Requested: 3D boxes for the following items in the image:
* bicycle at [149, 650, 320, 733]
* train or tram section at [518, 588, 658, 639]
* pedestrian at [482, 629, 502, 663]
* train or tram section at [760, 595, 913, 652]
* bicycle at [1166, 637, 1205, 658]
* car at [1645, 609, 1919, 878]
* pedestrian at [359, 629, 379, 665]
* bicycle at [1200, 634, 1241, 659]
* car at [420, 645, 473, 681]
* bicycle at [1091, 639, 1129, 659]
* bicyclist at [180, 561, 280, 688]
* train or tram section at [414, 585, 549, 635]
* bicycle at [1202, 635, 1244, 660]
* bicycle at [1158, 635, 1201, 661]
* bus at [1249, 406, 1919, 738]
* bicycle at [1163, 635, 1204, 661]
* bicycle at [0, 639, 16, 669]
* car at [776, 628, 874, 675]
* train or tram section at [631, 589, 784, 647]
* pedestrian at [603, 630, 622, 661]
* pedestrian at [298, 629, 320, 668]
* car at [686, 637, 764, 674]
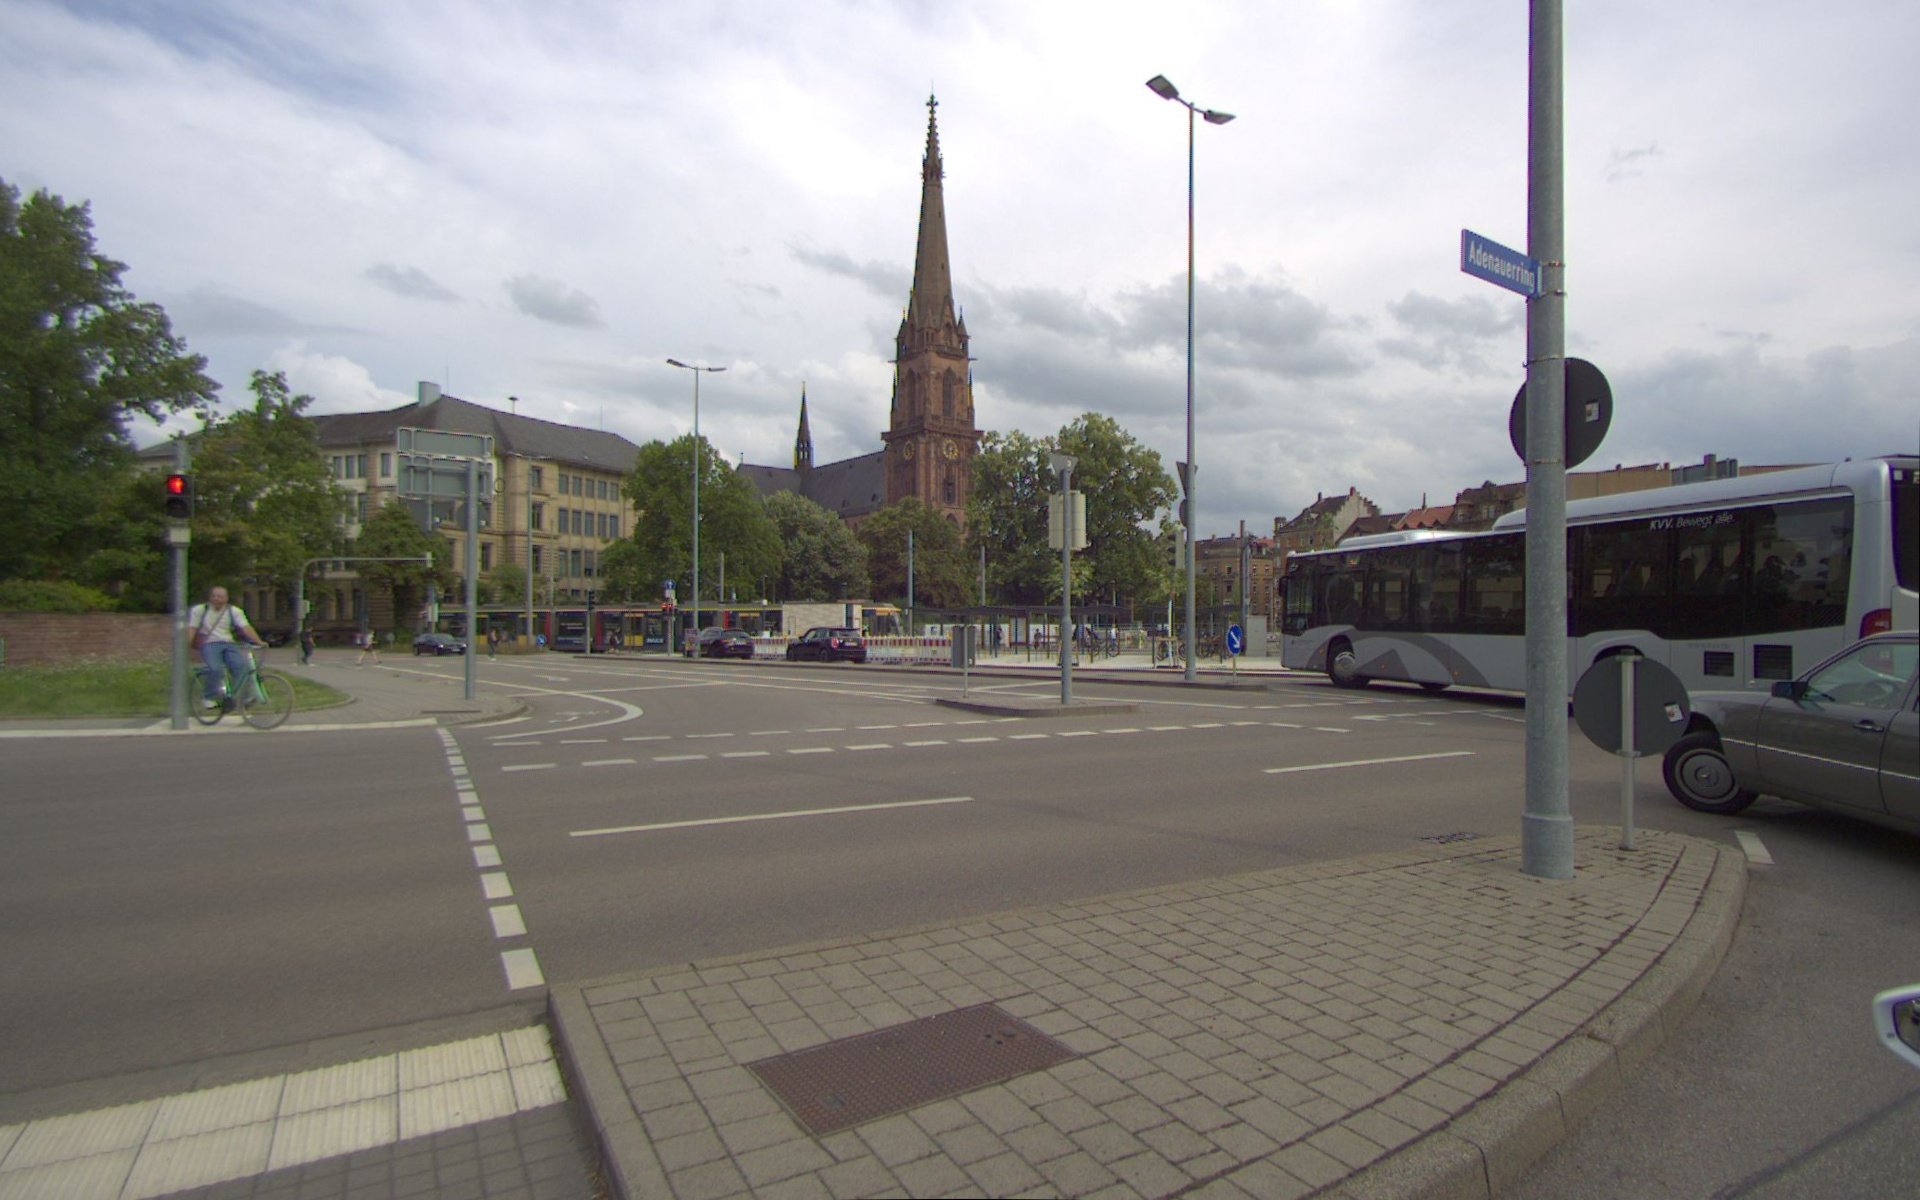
[{"bbox_3d":[-9.286,1.156,12.865,1.931,0.948,0.506,2,-2,9],"label":"bicycle"},{"bbox_3d":[-26.118,0.911,70.539,9.241,3.255,3.063,1,0,17],"label":"train or tram section"},{"bbox_3d":[-24.516,2.421,52.605,0.791,1.734,0.832,1,0,-33],"label":"pedestrian"},{"bbox_3d":[-7.942,1.465,64.831,9.312,3.290,3.063,1,0,17],"label":"train or tram section"},{"bbox_3d":[11.812,2.478,52.655,1.927,0.983,0.584,1,0,14],"label":"bicycle"},{"bbox_3d":[6.263,0.832,5.954,1.666,1.500,4.418,1,0,5],"label":"car"},{"bbox_3d":[-28.892,2.293,49.130,0.791,1.734,0.832,1,0,-33],"label":"pedestrian"},{"bbox_3d":[13.227,2.353,51.037,1.926,1.171,0.584,1,0,8],"label":"bicycle"},{"bbox_3d":[-33.064,4.035,64.637,1.987,2.040,3.947,1,0,-44],"label":"car"},{"bbox_3d":[7.831,2.548,52.438,1.927,0.968,0.584,1,0,14],"label":"bicycle"},{"bbox_3d":[-9.350,0.316,12.883,0.782,1.576,0.580,2,-2,9],"label":"bicyclist"},{"bbox_3d":[-34.885,0.694,73.234,9.182,3.321,3.063,1,0,17],"label":"train or tram section"},{"bbox_3d":[12.994,2.342,49.598,1.926,1.171,0.584,1,0,8],"label":"bicycle"},{"bbox_3d":[10.375,2.265,47.584,1.926,1.171,0.584,1,0,8],"label":"bicycle"},{"bbox_3d":[9.589,0.037,17.727,2.665,3.483,14.162,0,-3,-10],"label":"bus"},{"bbox_3d":[11.179,2.393,50.254,1.926,1.171,0.584,1,0,8],"label":"bicycle"},{"bbox_3d":[-34.471,1.930,35.198,0.763,1.018,1.927,1,0,10],"label":"bicycle"},{"bbox_3d":[-5.152,1.904,38.053,1.982,1.506,3.957,2,0,-37],"label":"car"},{"bbox_3d":[-17.004,1.169,67.686,9.731,3.496,3.063,1,0,17],"label":"train or tram section"},{"bbox_3d":[-19.677,2.565,56.829,0.791,1.734,0.832,1,0,-33],"label":"pedestrian"},{"bbox_3d":[-29.658,2.186,45.752,0.791,1.734,0.832,1,0,-33],"label":"pedestrian"},{"bbox_3d":[-10.698,2.480,45.534,1.981,1.379,4.230,2,0,-36],"label":"car"}]
